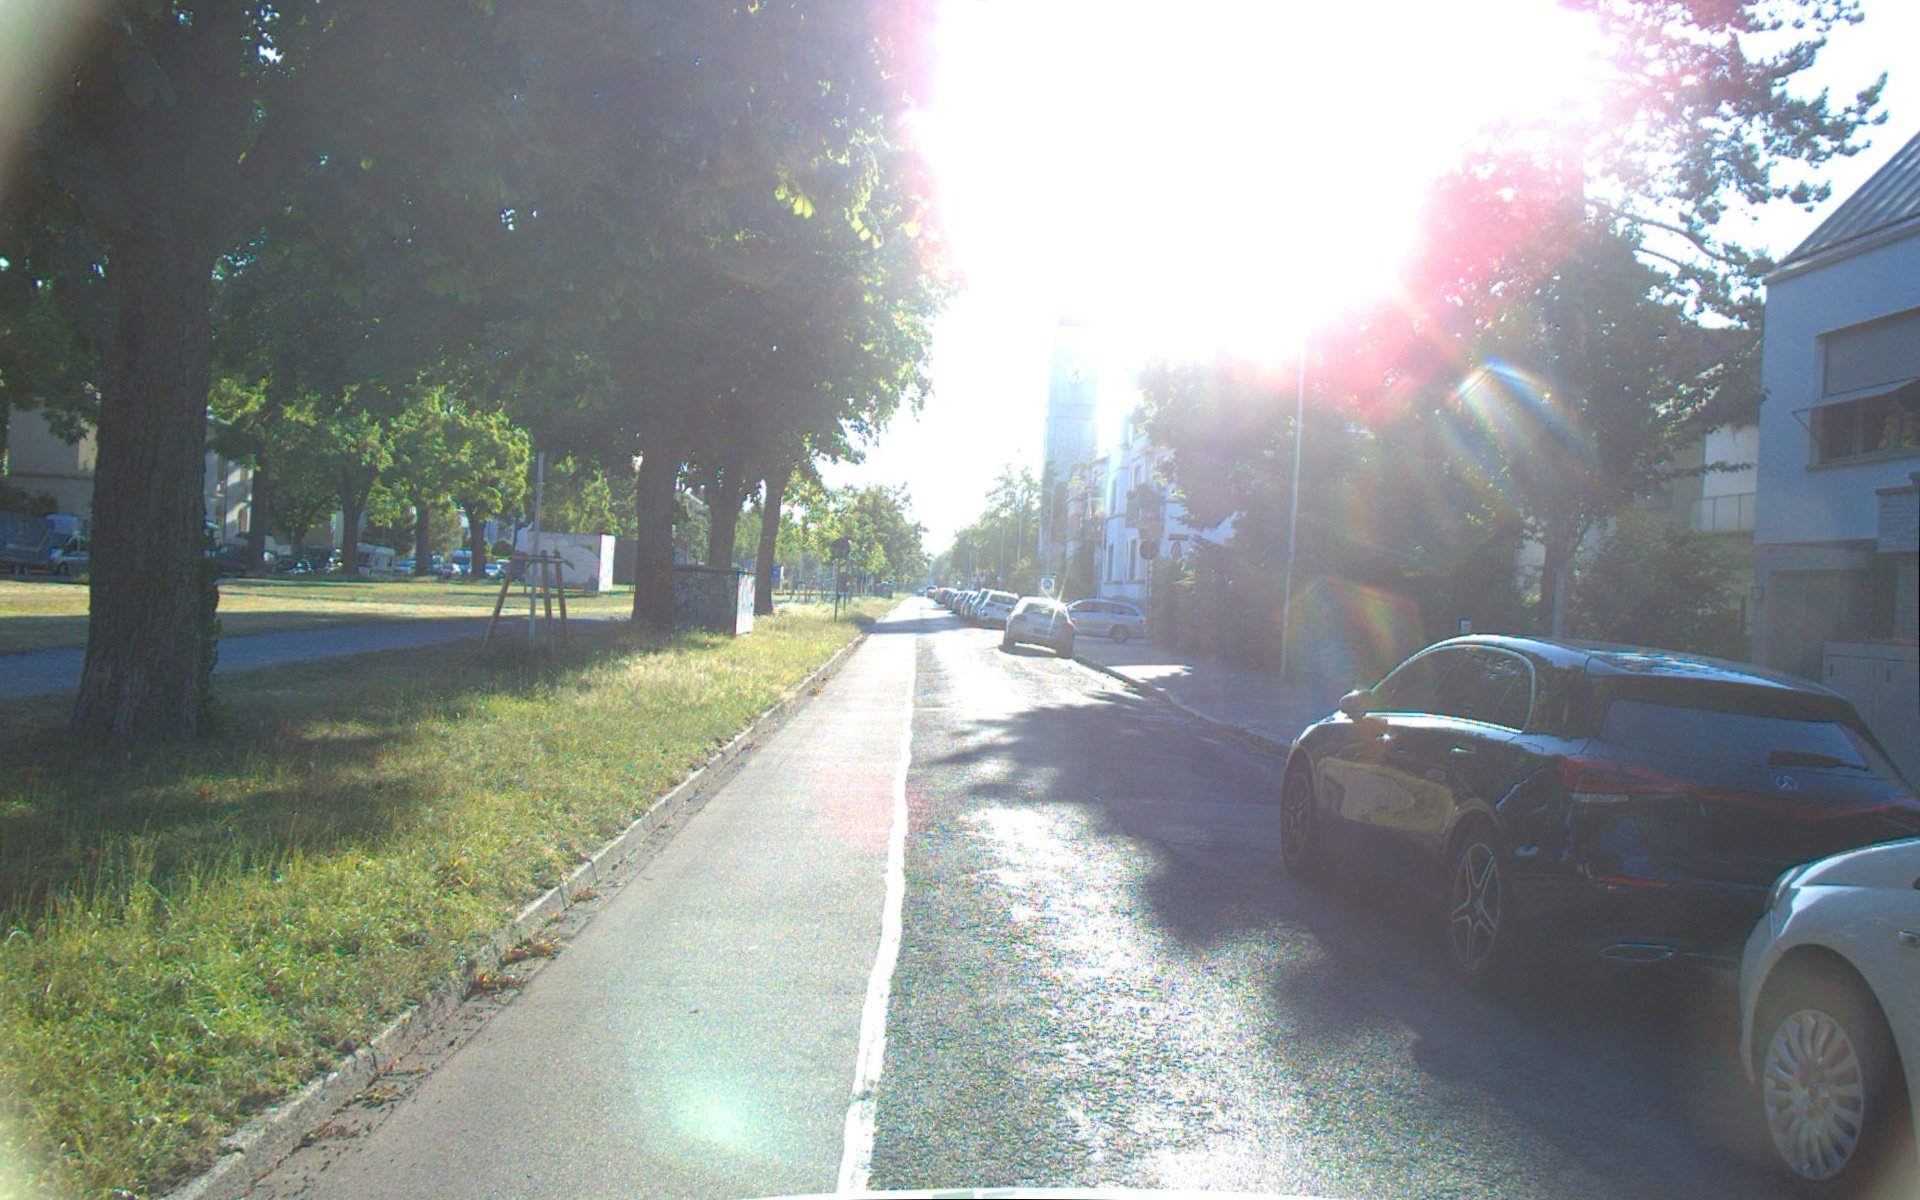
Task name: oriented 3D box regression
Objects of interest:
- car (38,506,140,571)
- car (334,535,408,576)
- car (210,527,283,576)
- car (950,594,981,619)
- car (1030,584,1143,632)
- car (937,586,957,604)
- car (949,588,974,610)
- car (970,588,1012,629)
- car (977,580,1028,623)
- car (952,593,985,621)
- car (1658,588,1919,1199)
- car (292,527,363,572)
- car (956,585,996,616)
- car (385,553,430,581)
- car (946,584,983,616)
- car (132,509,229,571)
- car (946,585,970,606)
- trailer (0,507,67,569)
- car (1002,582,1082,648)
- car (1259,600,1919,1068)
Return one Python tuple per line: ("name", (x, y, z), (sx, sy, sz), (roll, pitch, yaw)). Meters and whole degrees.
("car", (-40.345, -2.799, 76.779), (1.953, 2.719, 5.186), (3, 0, -1))
("car", (-35.402, -2.630, 99.640), (2.483, 2.275, 5.458), (2, 1, -1))
("car", (-34.916, -2.331, 81.059), (1.650, 2.213, 4.314), (3, 0, -1))
("car", (0.336, 0.423, 109.912), (1.953, 1.489, 4.000), (3, 0, 0))
("car", (4.504, 0.268, 59.173), (3.904, 1.444, 1.767), (3, 2, 2))
("car", (-1.340, -0.542, 170.368), (1.940, 1.712, 4.000), (3, 0, 0))
("car", (0.091, -0.064, 136.064), (1.953, 1.658, 4.000), (3, 0, 0))
("car", (1.371, 0.357, 74.724), (1.651, 1.679, 4.099), (3, 1, -2))
("car", (1.734, 0.032, 68.504), (1.723, 1.633, 4.357), (3, 0, -3))
("car", (0.489, 0.407, 99.118), (1.726, 1.547, 3.998), (5, 0, -3))
("car", (3.155, 0.839, 3.050), (1.659, 1.508, 3.925), (7, 0, -5))
("car", (-35.174, -2.767, 92.125), (1.953, 2.289, 5.185), (3, 0, -1))
("car", (0.776, 0.008, 83.427), (1.726, 1.444, 3.998), (3, 1, -3))
("car", (-41.970, -2.494, 125.793), (1.953, 2.049, 4.483), (1, 0, -1))
("car", (0.236, -0.017, 89.074), (1.723, 1.633, 4.357), (3, 0, -3))
("car", (-40.947, -3.098, 87.085), (2.388, 2.973, 5.816), (1, 0, -1))
("car", (-0.204, -0.408, 142.340), (1.953, 1.658, 4.000), (3, 0, 0))
("trailer", (-40.361, -2.622, 70.485), (1.953, 2.470, 4.723), (3, 0, -1))
("car", (2.193, 0.387, 45.276), (1.723, 1.443, 4.071), (9, 0, -1))
("car", (2.868, 0.845, 7.950), (1.715, 1.502, 4.285), (5, 0, -4))
